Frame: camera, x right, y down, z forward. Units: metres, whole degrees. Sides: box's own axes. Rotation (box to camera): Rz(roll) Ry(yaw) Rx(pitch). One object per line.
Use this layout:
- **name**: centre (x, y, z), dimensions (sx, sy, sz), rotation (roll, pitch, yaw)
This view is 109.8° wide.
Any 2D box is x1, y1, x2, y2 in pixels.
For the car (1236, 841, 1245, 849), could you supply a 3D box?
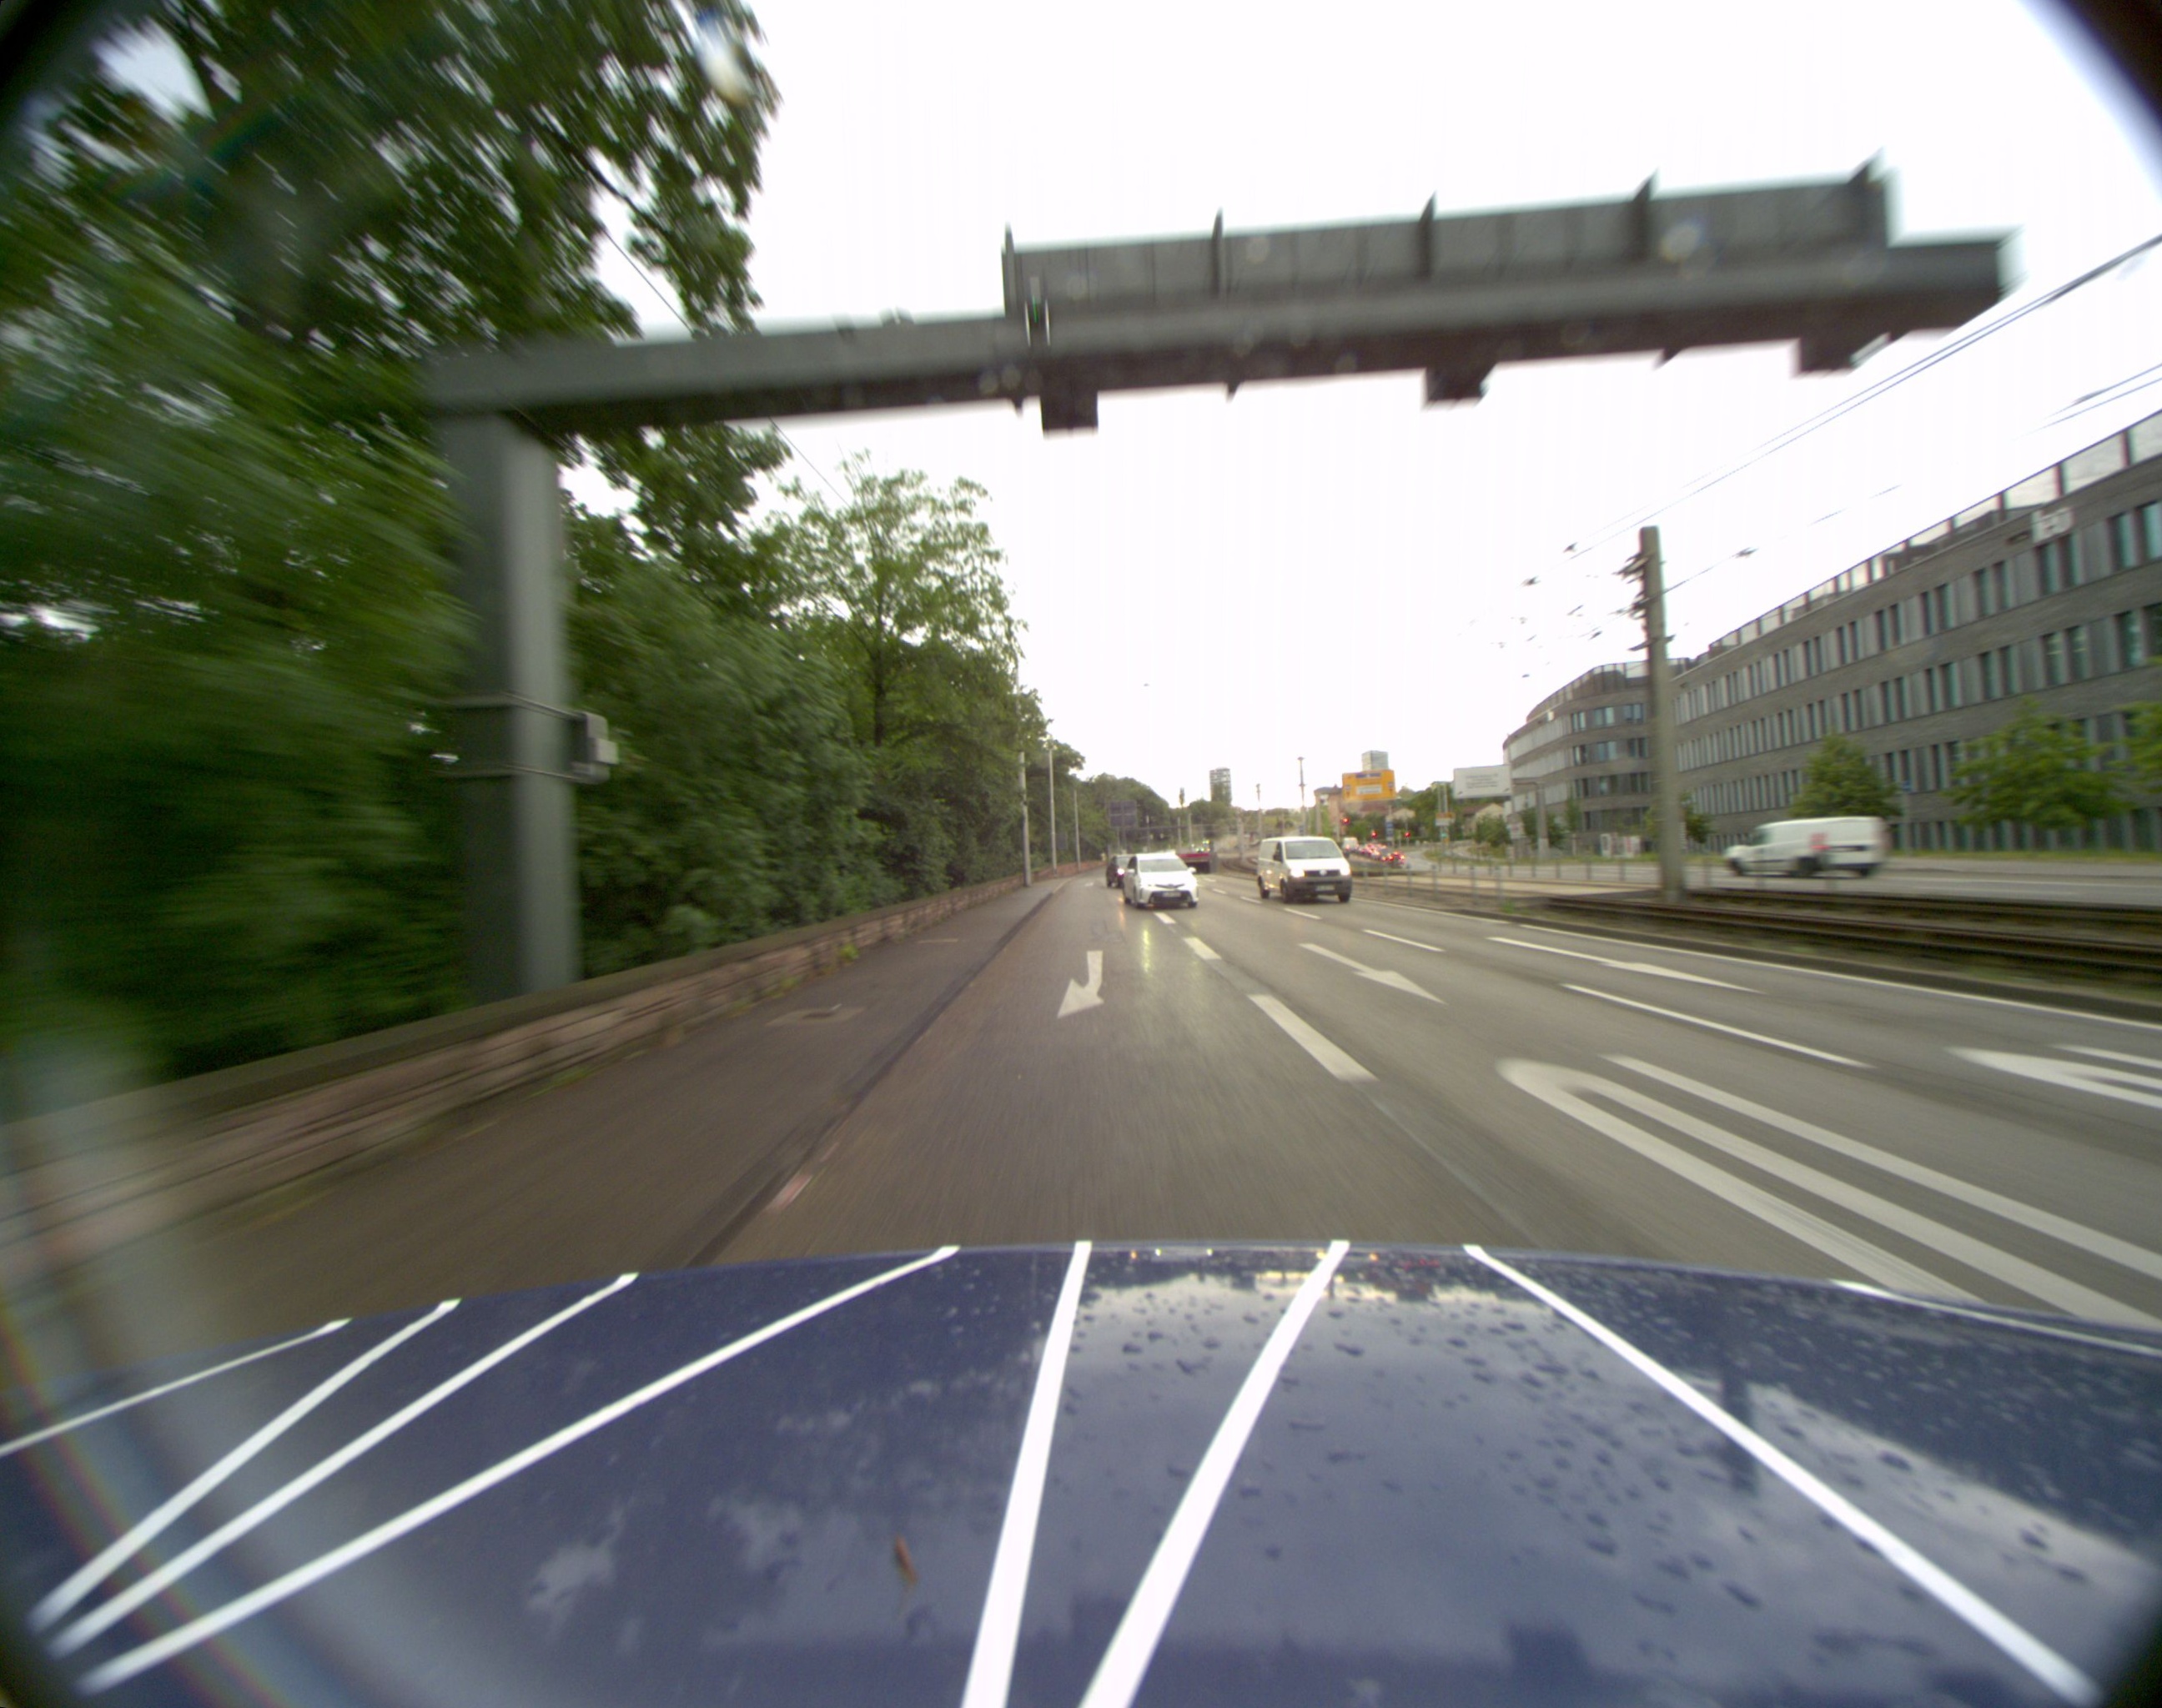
- **car**: centre (40.527, -2.321, 193.191), dimensions (1.997, 1.936, 4.002), rotation (-2, 1, 10)

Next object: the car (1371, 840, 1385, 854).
- **car**: centre (43.473, -1.079, 111.225), dimensions (1.668, 1.893, 4.004), rotation (-2, 1, 17)

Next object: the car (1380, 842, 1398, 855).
- **car**: centre (43.032, -0.745, 106.339), dimensions (1.834, 1.787, 4.220), rotation (-1, 0, 15)

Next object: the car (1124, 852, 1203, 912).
- **car**: centre (2.408, 0.765, 23.171), dimensions (1.981, 1.564, 4.319), rotation (-2, 0, 1)

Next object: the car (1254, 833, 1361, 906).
- **car**: centre (6.791, 0.425, 23.337), dimensions (1.914, 1.947, 4.718), rotation (-2, 0, 2)

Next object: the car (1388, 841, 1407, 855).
- **car**: centre (42.005, -0.798, 101.001), dimensions (1.834, 1.787, 4.220), rotation (-1, 0, 15)

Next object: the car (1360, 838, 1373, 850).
- **car**: centre (46.490, -1.649, 123.872), dimensions (1.668, 1.808, 4.004), rotation (-2, 1, 16)

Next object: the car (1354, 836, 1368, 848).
- **car**: centre (48.424, -2.080, 131.431), dimensions (1.668, 1.893, 4.004), rotation (-2, 1, 14)

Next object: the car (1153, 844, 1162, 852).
- **car**: centre (21.061, -1.691, 209.697), dimensions (1.998, 2.002, 3.999), rotation (-2, 1, 1)

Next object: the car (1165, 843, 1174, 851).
- **car**: centre (24.100, -1.813, 206.014), dimensions (1.998, 2.002, 3.999), rotation (-2, 1, 1)

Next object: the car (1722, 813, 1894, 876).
- **car**: centre (22.846, -0.275, 24.134), dimensions (1.835, 1.787, 4.218), rotation (-1, 0, 8)

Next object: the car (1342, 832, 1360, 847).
- **car**: centre (49.219, -2.664, 138.636), dimensions (2.335, 2.453, 7.032), rotation (-2, 1, 14)

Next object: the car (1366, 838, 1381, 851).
- **car**: centre (45.156, -1.490, 117.354), dimensions (1.668, 1.893, 4.003), rotation (-2, 1, 14)

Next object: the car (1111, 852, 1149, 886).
- **car**: centre (2.346, 0.704, 37.176), dimensions (1.662, 1.534, 3.709), rotation (-2, 0, 1)
